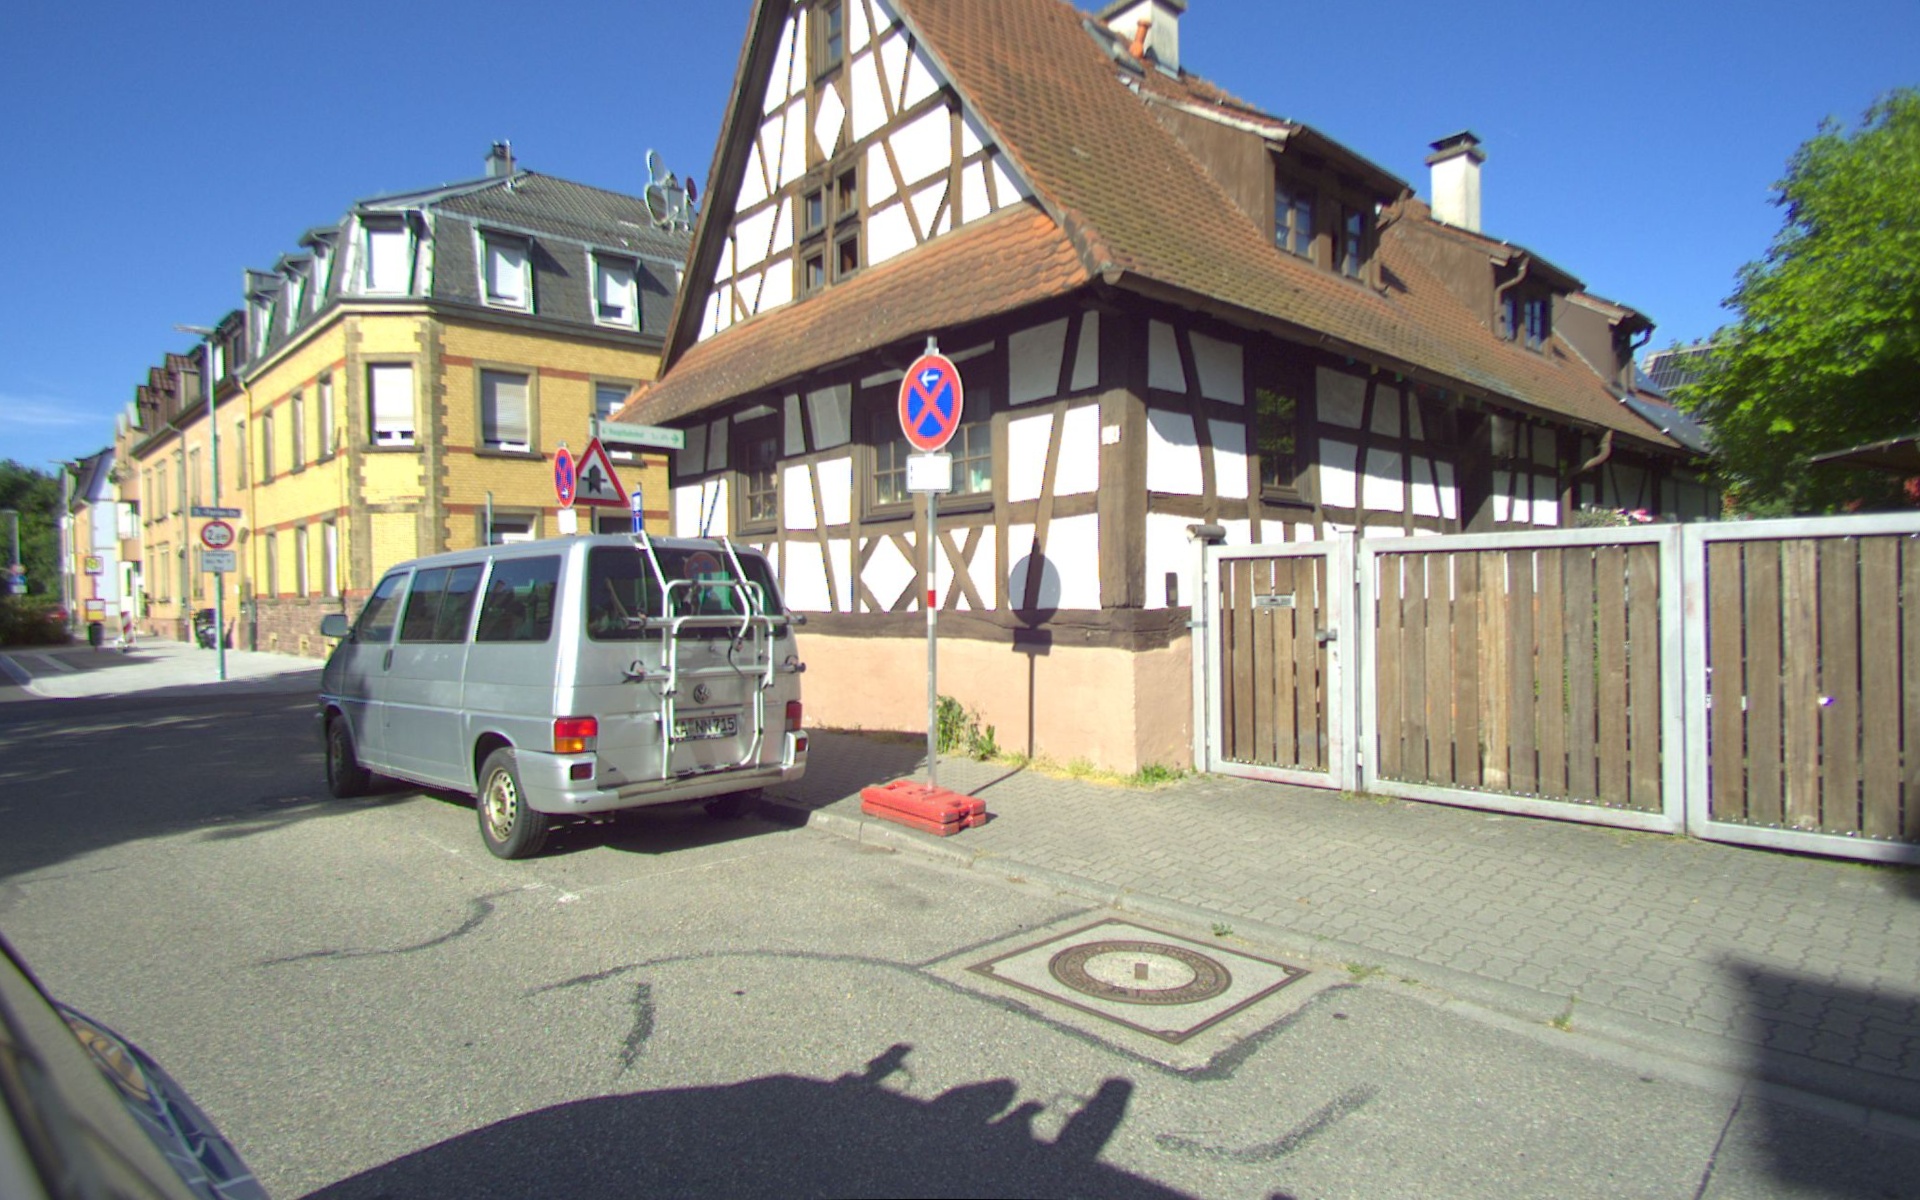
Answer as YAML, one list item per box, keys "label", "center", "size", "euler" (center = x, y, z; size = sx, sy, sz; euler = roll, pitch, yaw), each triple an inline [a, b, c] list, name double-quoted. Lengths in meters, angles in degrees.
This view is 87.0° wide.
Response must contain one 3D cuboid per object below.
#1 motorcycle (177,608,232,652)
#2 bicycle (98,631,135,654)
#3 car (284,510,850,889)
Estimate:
- label: "motorcycle"
  center: [-23.915, 0.929, 32.024]
  size: [2.256, 1.261, 0.837]
  euler: [0, 3, 41]
- label: "bicycle"
  center: [-27.033, 1.364, 32.446]
  size: [0.377, 0.614, 1.346]
  euler: [-3, 3, -16]
- label: "car"
  center: [-3.115, 0.502, 7.366]
  size: [4.834, 1.895, 1.855]
  euler: [0, 0, 42]
